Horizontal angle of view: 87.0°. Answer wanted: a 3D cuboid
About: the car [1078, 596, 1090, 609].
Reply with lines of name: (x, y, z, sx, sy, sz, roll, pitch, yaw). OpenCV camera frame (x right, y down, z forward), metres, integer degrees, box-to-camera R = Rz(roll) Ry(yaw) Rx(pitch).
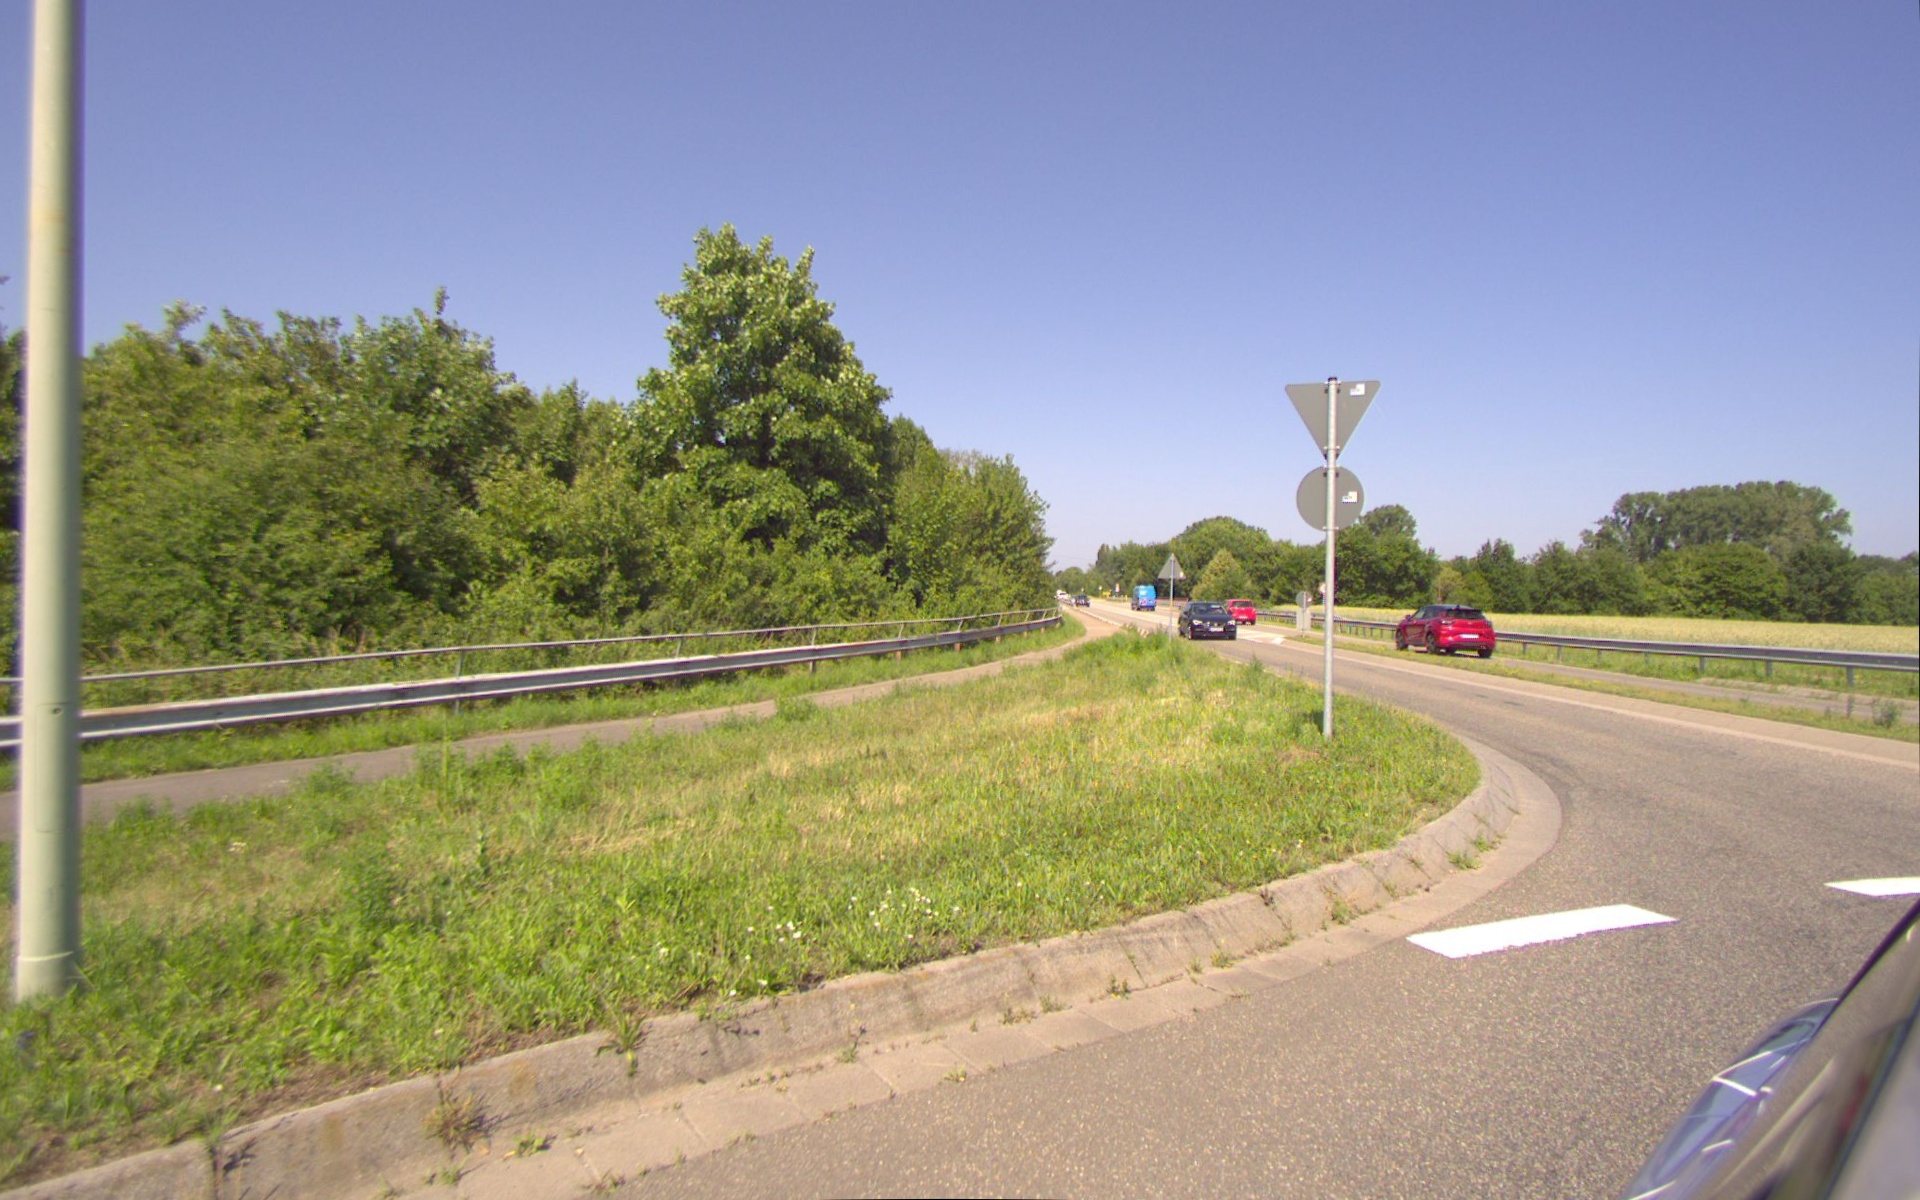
car: (16.400, 0.281, 134.259, 1.436, 1.668, 3.532, 0, 0, 4)

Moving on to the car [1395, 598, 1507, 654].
car: (15.028, 0.757, 31.224, 1.718, 1.542, 3.827, 2, 0, 3)

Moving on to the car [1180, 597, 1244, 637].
car: (9.746, 0.628, 39.394, 1.776, 1.415, 4.175, 0, 1, 5)

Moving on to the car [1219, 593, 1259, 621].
car: (16.873, 0.394, 61.370, 1.603, 1.509, 3.799, 2, 1, 4)

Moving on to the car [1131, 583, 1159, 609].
car: (19.951, -0.434, 109.400, 1.964, 2.644, 7.283, 3, 1, 4)

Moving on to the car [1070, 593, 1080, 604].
car: (18.323, -0.255, 160.791, 1.436, 1.668, 3.532, 0, 0, 4)
